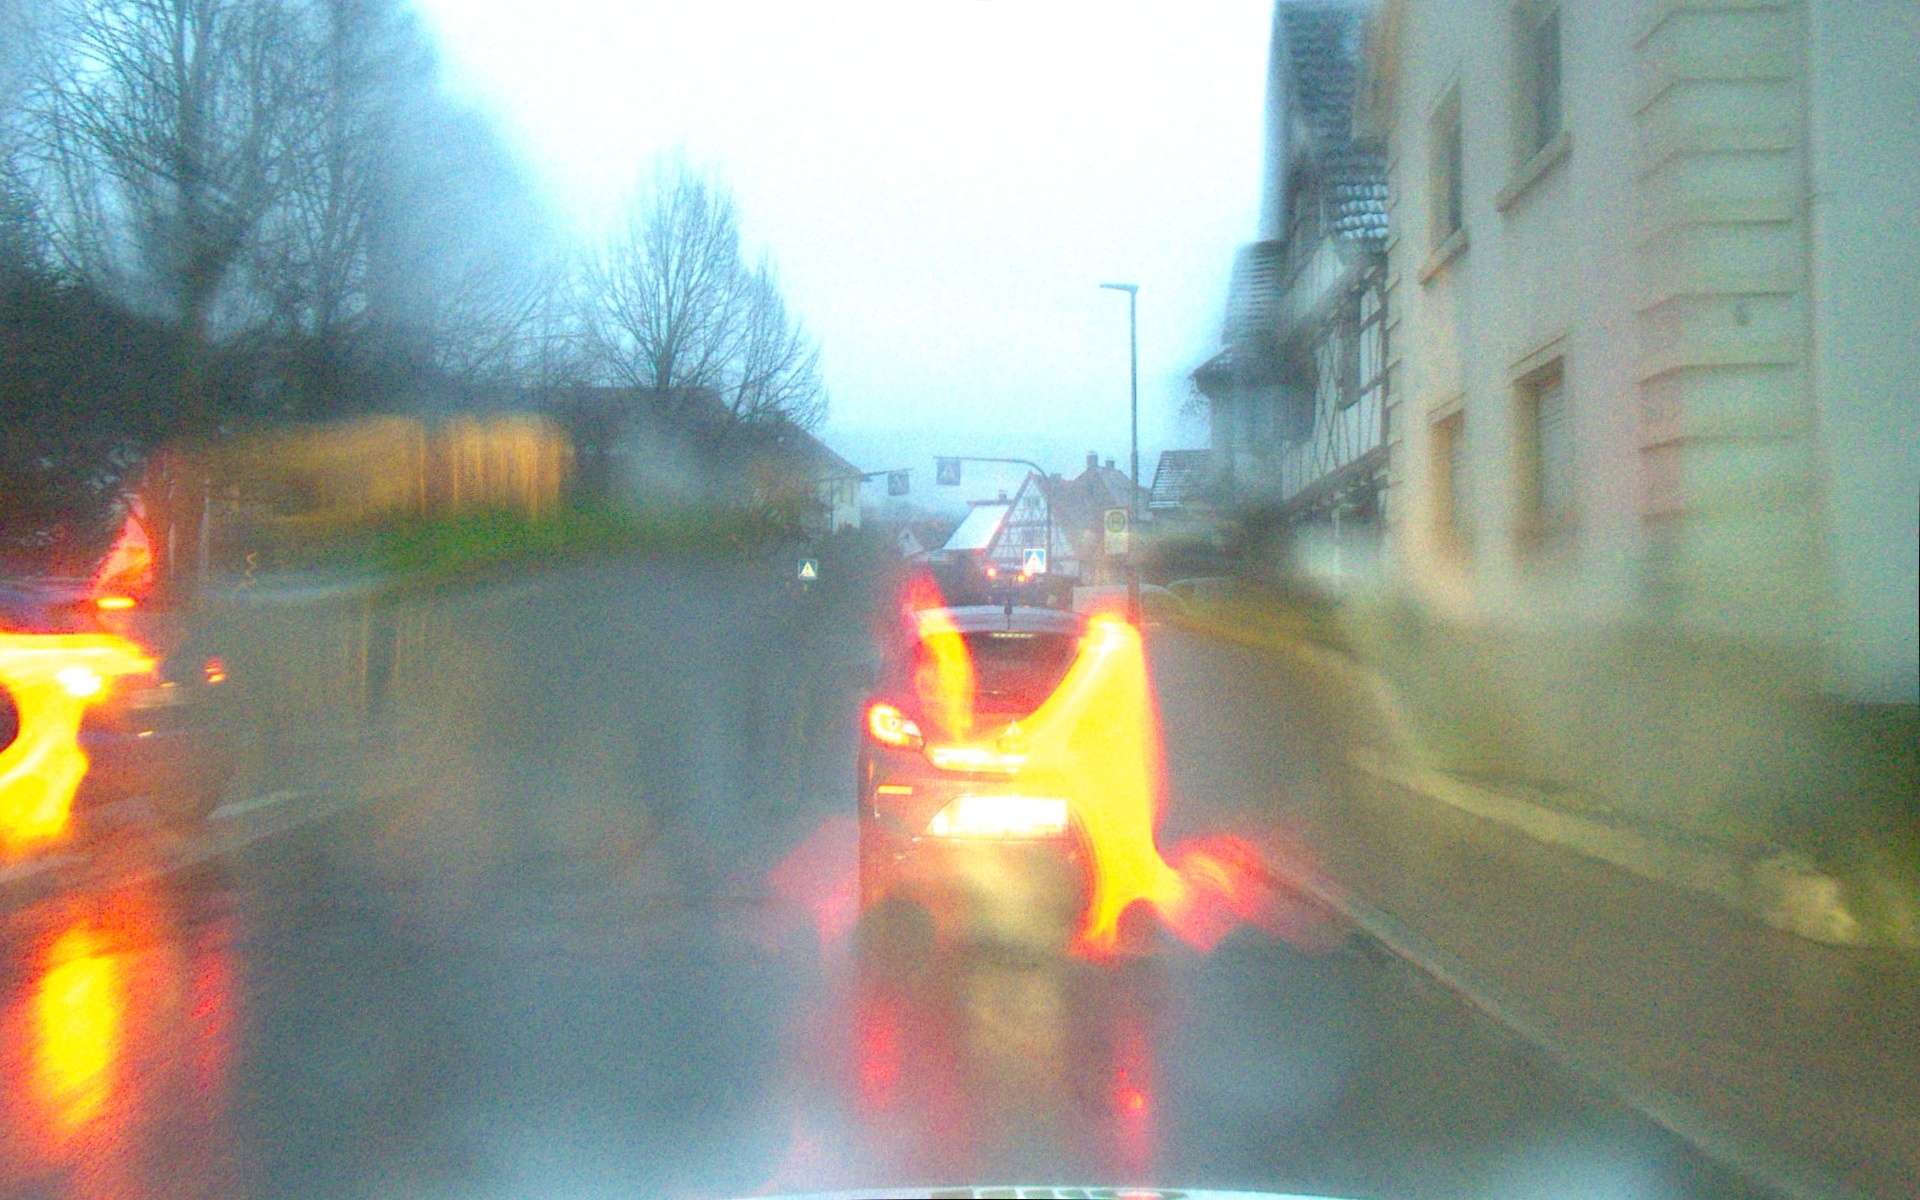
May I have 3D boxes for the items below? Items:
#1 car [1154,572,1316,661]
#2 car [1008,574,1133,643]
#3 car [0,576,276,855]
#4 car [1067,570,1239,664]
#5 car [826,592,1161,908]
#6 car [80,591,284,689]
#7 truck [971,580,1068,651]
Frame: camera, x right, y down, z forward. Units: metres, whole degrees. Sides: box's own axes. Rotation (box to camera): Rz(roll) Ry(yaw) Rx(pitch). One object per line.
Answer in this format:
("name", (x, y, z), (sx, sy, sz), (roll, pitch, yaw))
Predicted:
("car", (7.008, 0.405, 42.481), (4.010, 2.189, 1.915), (0, 0, 6))
("car", (3.656, 0.282, 54.253), (4.010, 2.189, 1.915), (0, 0, 6))
("car", (-6.153, 0.604, 10.279), (3.192, 1.507, 1.644), (1, 0, 18))
("car", (4.661, 0.391, 40.057), (4.010, 2.201, 1.915), (0, 0, 6))
("car", (0.146, 0.740, 9.723), (1.604, 1.507, 3.378), (1, 0, -1))
("car", (-17.080, 0.833, 36.343), (3.904, 2.033, 1.820), (0, 0, 19))
("truck", (2.957, 0.703, 79.532), (2.951, 3.183, 8.006), (1, 0, 15))
